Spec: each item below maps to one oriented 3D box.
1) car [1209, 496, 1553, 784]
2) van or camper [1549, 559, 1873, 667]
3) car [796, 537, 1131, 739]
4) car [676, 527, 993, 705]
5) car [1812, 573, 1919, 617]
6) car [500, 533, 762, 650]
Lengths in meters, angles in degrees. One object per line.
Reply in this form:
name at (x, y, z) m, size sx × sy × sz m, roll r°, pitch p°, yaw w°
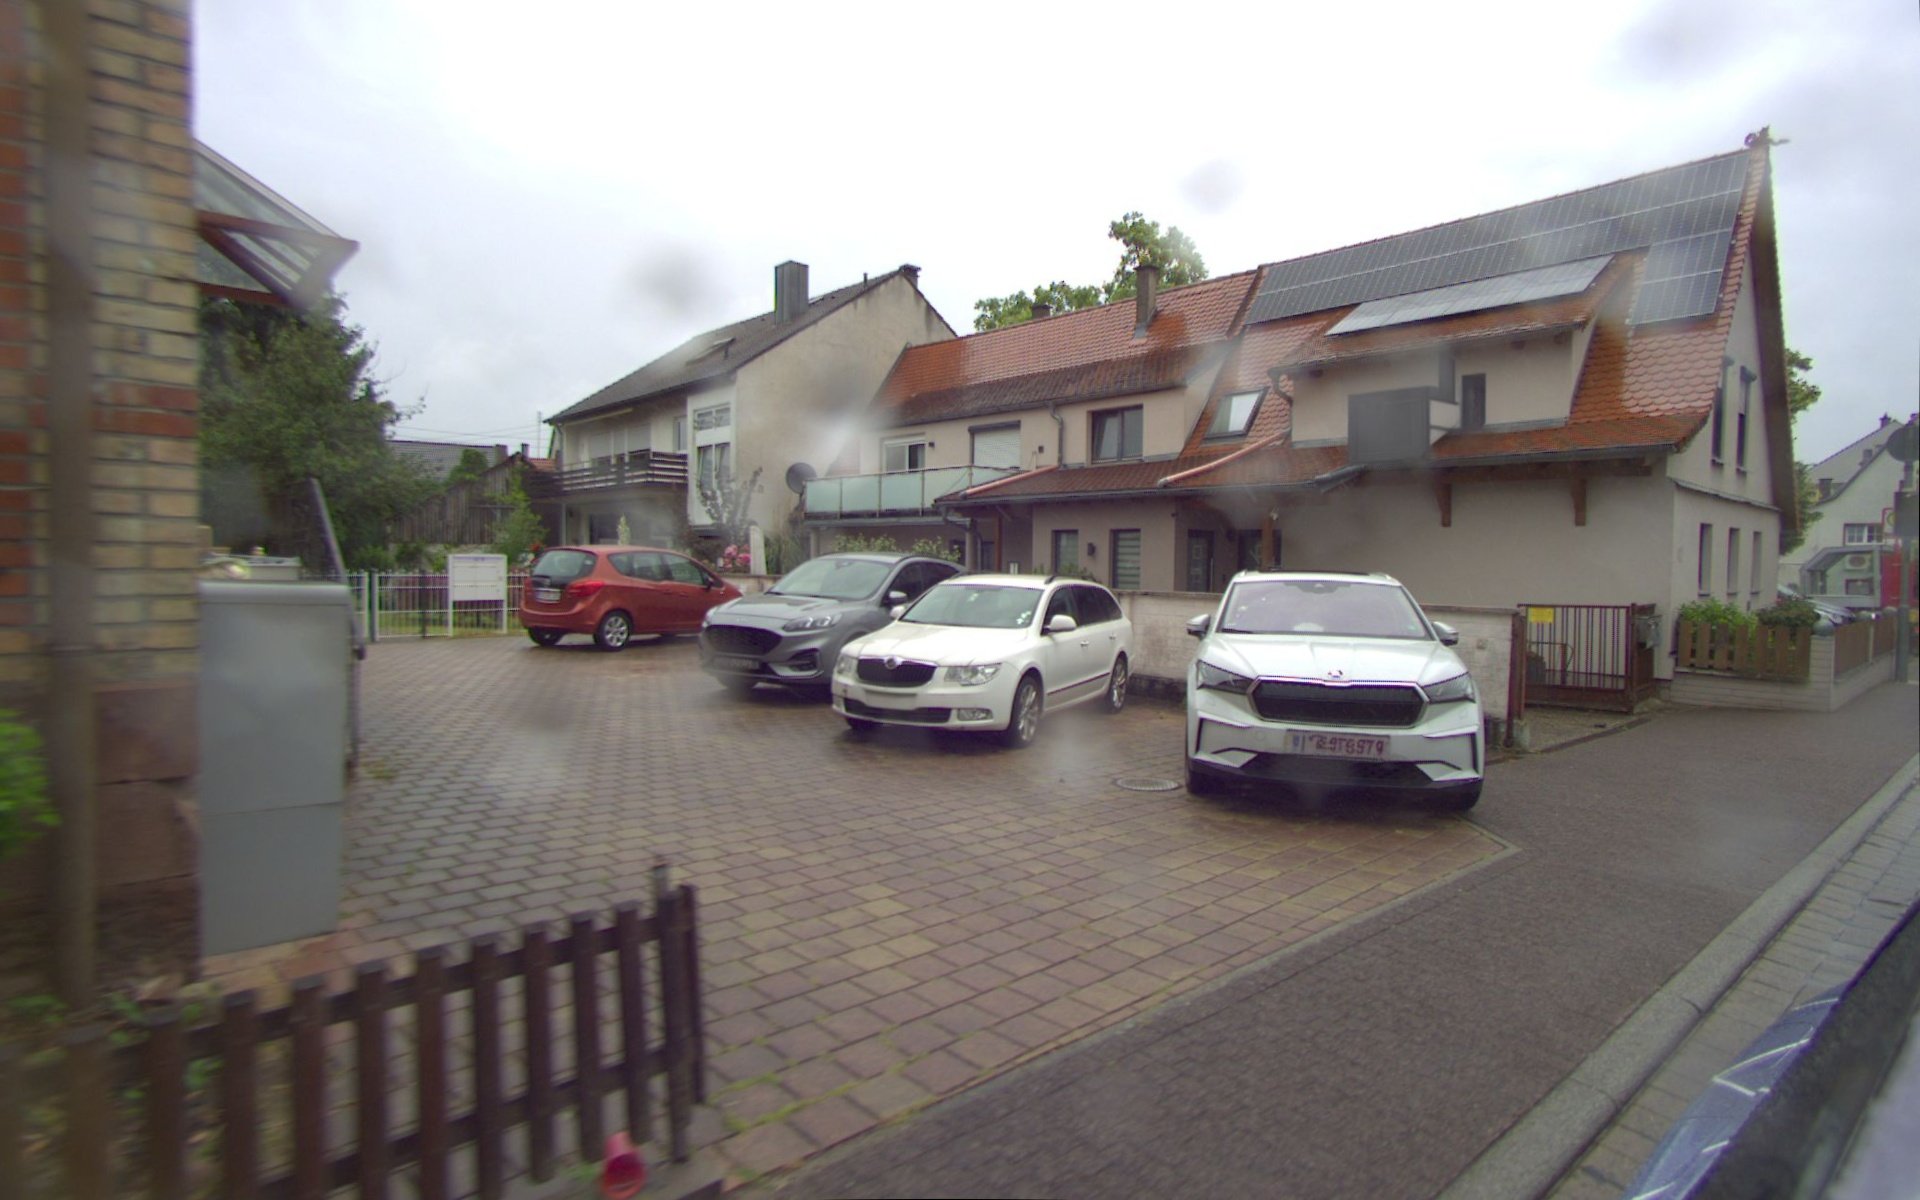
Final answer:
car at (3.049, 0.268, 8.143) m, size 1.851 × 1.610 × 4.594 m, roll 0°, pitch -1°, yaw 16°
van or camper at (15.194, 0.252, 20.738) m, size 1.845 × 1.947 × 5.072 m, roll -1°, pitch 0°, yaw -44°
car at (0.299, 0.257, 10.009) m, size 1.855 × 1.535 × 4.260 m, roll 1°, pitch 1°, yaw 22°
car at (-1.280, 0.110, 12.198) m, size 1.792 × 1.696 × 4.184 m, roll 3°, pitch 2°, yaw 25°
car at (33.266, -0.194, 35.972) m, size 1.660 × 1.499 × 4.249 m, roll -1°, pitch 1°, yaw -25°
car at (-5.273, -0.177, 16.762) m, size 1.793 × 1.666 × 4.030 m, roll 3°, pitch 2°, yaw 27°
